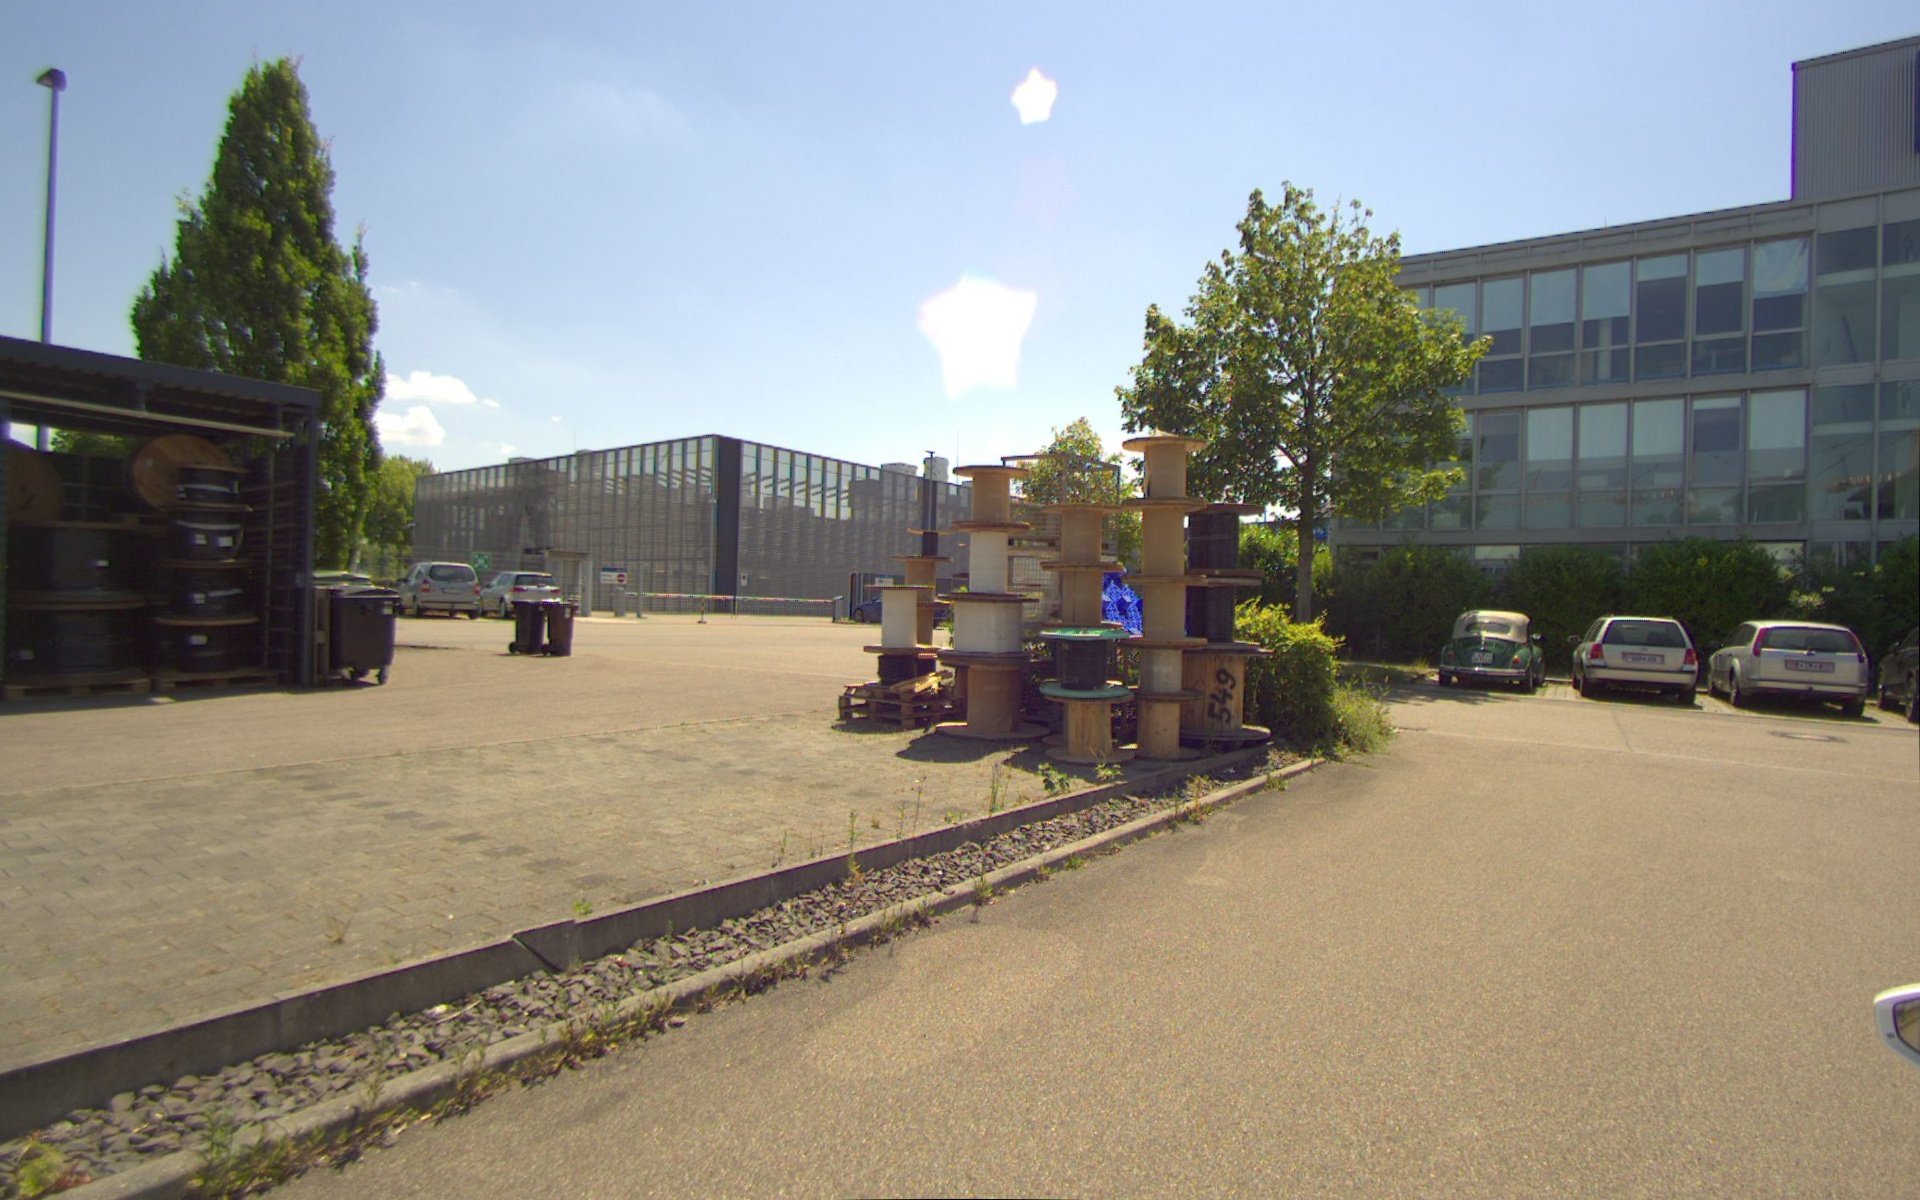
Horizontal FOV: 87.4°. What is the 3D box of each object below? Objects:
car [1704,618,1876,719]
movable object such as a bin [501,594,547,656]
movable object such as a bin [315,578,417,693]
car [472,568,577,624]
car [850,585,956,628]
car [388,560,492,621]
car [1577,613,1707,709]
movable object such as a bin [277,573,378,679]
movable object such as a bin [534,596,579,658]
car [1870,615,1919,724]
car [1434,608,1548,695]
[{"bbox_3d":[14.510,1.114,17.771,1.739,1.468,3.646,3,1,31],"label":"car"},{"bbox_3d":[-7.542,0.429,17.391,0.570,1.041,0.426,2,0,4],"label":"movable object such as a bin"},{"bbox_3d":[-7.378,0.424,12.478,0.802,1.362,0.879,2,0,42],"label":"movable object such as a bin"},{"bbox_3d":[-13.712,-0.149,31.522,1.984,1.511,3.954,4,-1,-39],"label":"car"},{"bbox_3d":[-2.316,0.244,39.908,1.983,1.511,4.463,1,1,-39],"label":"car"},{"bbox_3d":[-15.644,-0.319,30.124,1.984,1.611,3.954,4,-1,-39],"label":"car"},{"bbox_3d":[12.455,1.031,18.539,1.706,1.468,3.646,3,1,31],"label":"car"},{"bbox_3d":[-8.419,0.332,13.380,0.699,1.347,0.968,2,0,42],"label":"movable object such as a bin"},{"bbox_3d":[-6.958,0.460,17.348,0.567,1.050,0.426,2,0,4],"label":"movable object such as a bin"},{"bbox_3d":[16.321,1.107,16.194,1.901,1.632,3.973,3,1,35],"label":"car"},{"bbox_3d":[10.469,0.932,19.697,1.521,1.468,3.642,3,1,35],"label":"car"}]
